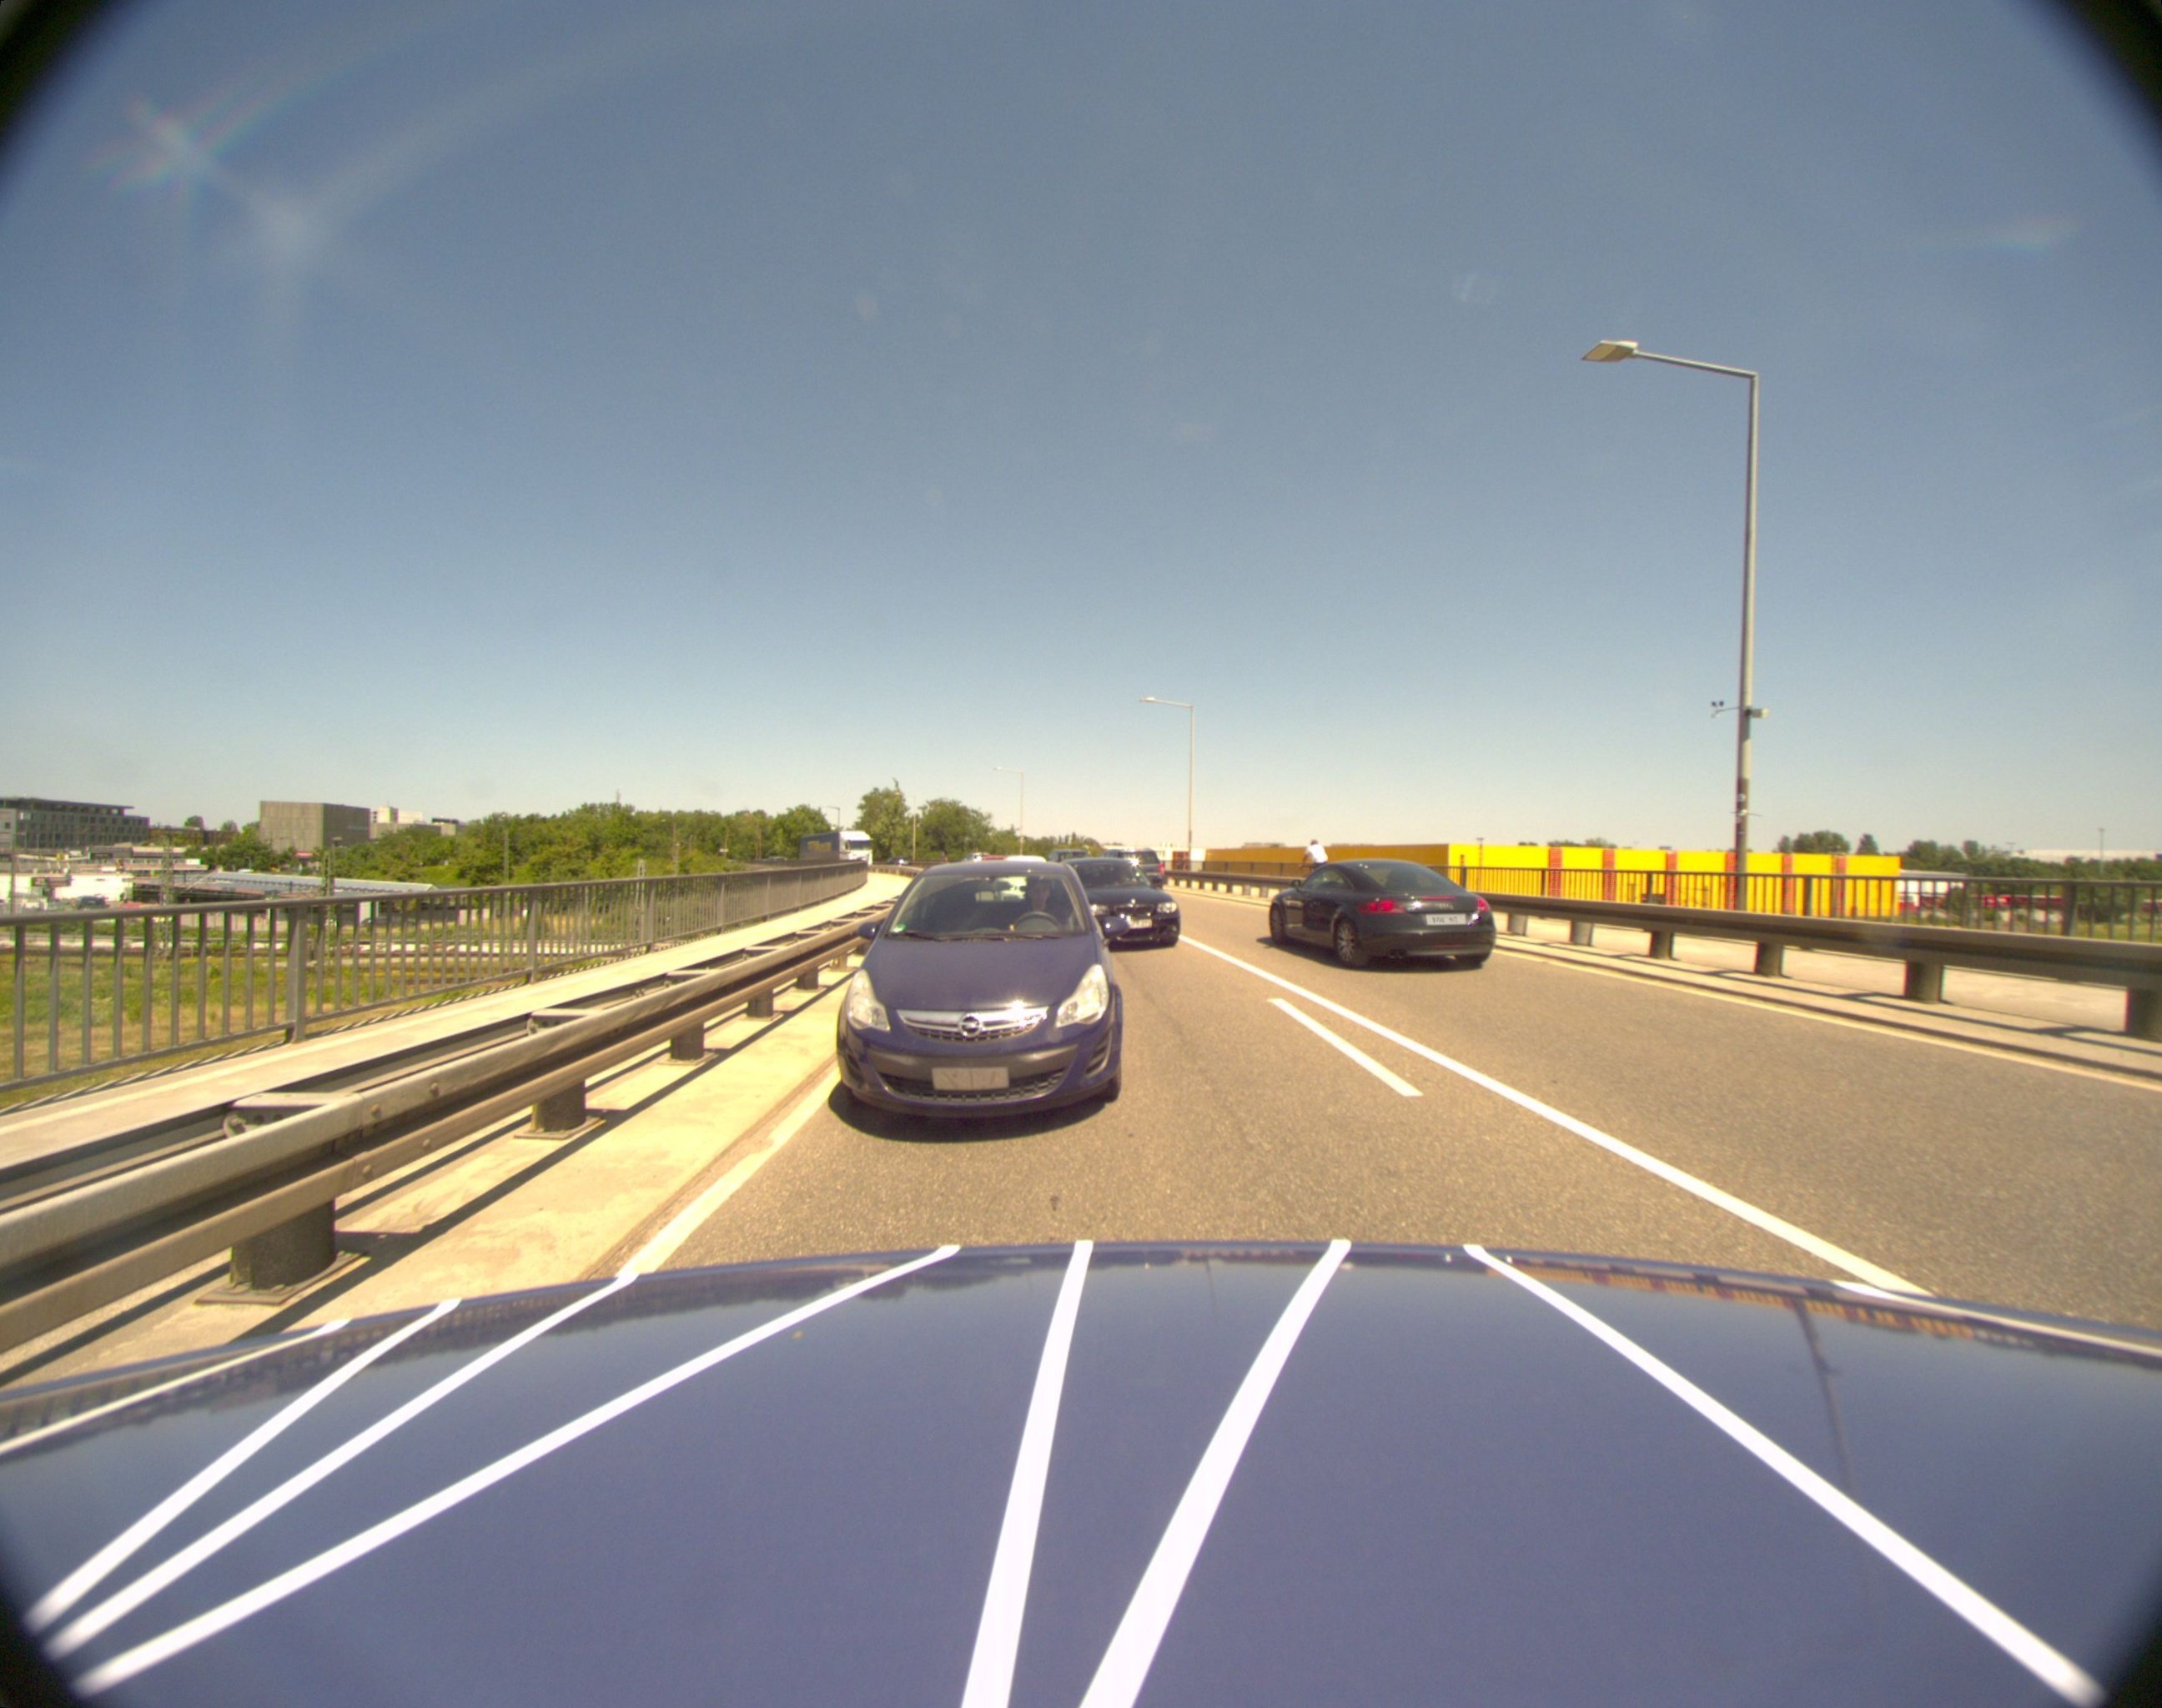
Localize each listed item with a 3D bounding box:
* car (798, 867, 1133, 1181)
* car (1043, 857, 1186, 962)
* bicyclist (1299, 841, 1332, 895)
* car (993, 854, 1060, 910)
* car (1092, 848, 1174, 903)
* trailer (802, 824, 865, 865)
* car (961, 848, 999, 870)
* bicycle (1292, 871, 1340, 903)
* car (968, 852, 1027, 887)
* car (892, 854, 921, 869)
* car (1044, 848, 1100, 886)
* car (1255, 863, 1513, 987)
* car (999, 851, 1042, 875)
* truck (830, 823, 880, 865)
[{"bbox_3d":[-0.695,0.893,5.857,1.645,1.431,3.998,-2,1,-4],"label":"car"},{"bbox_3d":[0.391,0.815,13.421,1.795,1.447,4.520,-1,1,-7],"label":"car"},{"bbox_3d":[6.795,0.402,22.052,0.585,1.512,0.895,-1,1,-6],"label":"bicyclist"},{"bbox_3d":[-1.719,0.771,23.200,1.795,1.447,4.520,-2,1,-6],"label":"car"},{"bbox_3d":[1.617,0.644,25.091,1.712,1.617,4.249,-2,1,-10],"label":"car"},{"bbox_3d":[-27.825,-1.023,84.898,2.707,4.211,12.679,-3,2,-36],"label":"trailer"},{"bbox_3d":[-7.751,0.379,57.972,1.744,1.571,4.168,-1,1,-23],"label":"car"},{"bbox_3d":[6.806,0.938,22.076,0.590,0.828,1.990,-1,1,-6],"label":"bicycle"},{"bbox_3d":[-3.892,0.653,34.767,1.797,1.447,4.516,-2,1,-17],"label":"car"},{"bbox_3d":[-17.676,0.733,77.029,1.780,1.430,4.382,-1,1,-28],"label":"car"},{"bbox_3d":[-0.501,0.577,35.477,1.807,1.631,4.296,-1,0,-11],"label":"car"},{"bbox_3d":[3.928,0.830,10.646,1.683,1.300,3.970,-1,0,-6],"label":"car"},{"bbox_3d":[-3.885,0.538,48.241,1.704,1.368,3.993,-1,1,-20],"label":"car"},{"bbox_3d":[-23.537,-1.016,78.956,2.701,4.205,6.821,-3,2,-36],"label":"truck"}]
